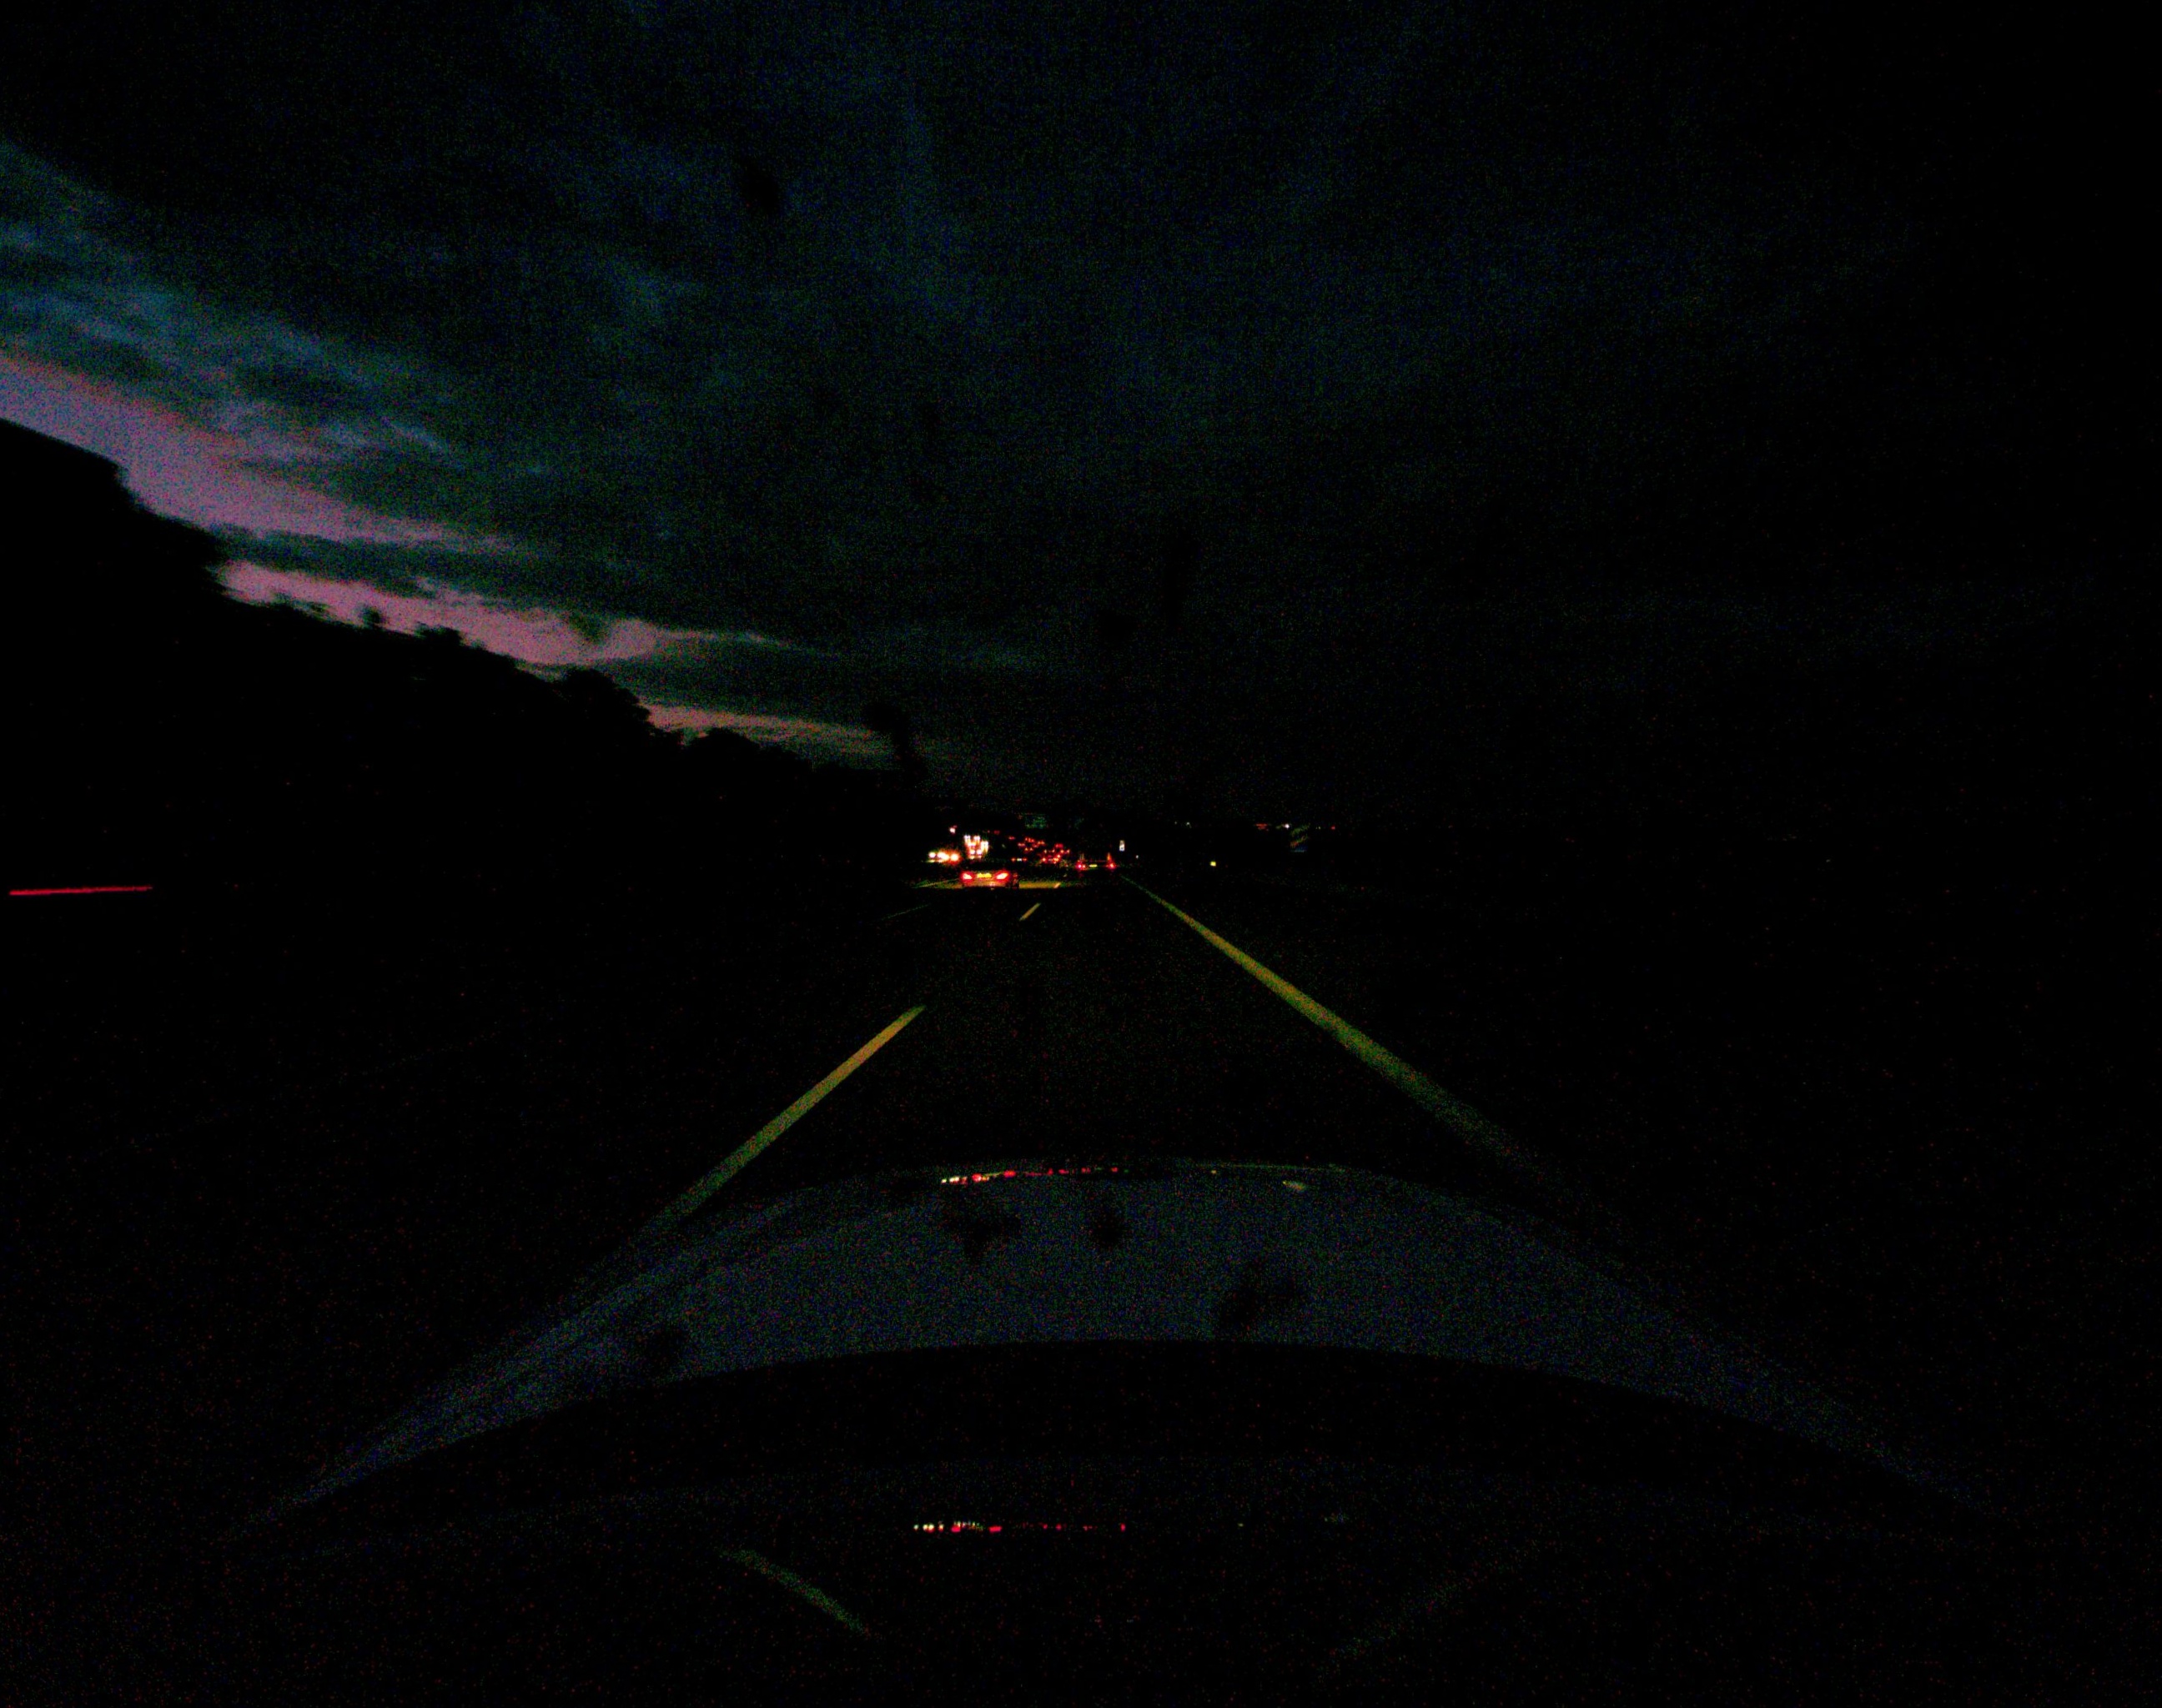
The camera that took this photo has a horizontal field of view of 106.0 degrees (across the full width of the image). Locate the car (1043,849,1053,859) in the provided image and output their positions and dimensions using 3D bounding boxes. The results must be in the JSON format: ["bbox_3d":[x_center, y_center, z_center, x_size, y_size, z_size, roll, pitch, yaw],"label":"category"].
[{"bbox_3d":[-6.814,0.010,167.901,1.990,2.014,3.994,0,0,-4],"label":"car"}]

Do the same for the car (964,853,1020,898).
[{"bbox_3d":[-3.399,0.795,31.837,1.902,1.614,4.798,0,0,-3],"label":"car"}]

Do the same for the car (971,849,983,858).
[{"bbox_3d":[-22.493,-0.022,176.431,1.908,1.867,6.011,0,0,-2],"label":"car"}]

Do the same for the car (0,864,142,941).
[{"bbox_3d":[-22.841,0.991,16.382,1.986,1.534,5.008,0,0,1],"label":"car"}]

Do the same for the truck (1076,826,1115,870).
[{"bbox_3d":[1.442,-0.511,78.317,3.536,4.091,6.155,0,-1,3],"label":"truck"}]

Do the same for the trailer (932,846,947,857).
[{"bbox_3d":[-24.935,-0.445,143.343,1.907,2.002,4.240,1,0,0],"label":"trailer"}]

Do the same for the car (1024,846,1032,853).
[{"bbox_3d":[-13.849,-1.130,212.088,1.989,1.622,3.996,0,0,-3],"label":"car"}]

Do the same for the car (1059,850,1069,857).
[{"bbox_3d":[-3.654,-0.046,175.173,1.989,1.534,3.996,0,0,-3],"label":"car"}]

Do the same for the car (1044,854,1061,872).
[{"bbox_3d":[-3.807,1.233,109.273,1.986,2.380,4.000,0,0,1],"label":"car"}]

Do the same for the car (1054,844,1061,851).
[{"bbox_3d":[-6.912,-1.810,238.992,1.990,1.978,3.993,0,0,-5],"label":"car"}]

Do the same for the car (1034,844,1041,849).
[{"bbox_3d":[-13.772,-2.307,255.232,1.991,1.622,3.992,0,0,-6],"label":"car"}]

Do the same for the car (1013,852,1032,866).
[{"bbox_3d":[-6.802,0.591,95.152,1.756,1.575,4.577,0,0,1],"label":"car"}]

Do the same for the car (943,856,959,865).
[{"bbox_3d":[-20.142,1.064,126.672,1.684,1.354,4.897,0,0,0],"label":"car"}]

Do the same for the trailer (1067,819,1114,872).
[{"bbox_3d":[1.034,-0.570,71.297,3.535,4.116,15.073,0,-1,3],"label":"trailer"}]

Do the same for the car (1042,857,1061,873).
[{"bbox_3d":[-3.241,1.163,89.837,2.059,1.686,4.574,0,0,-1],"label":"car"}]
